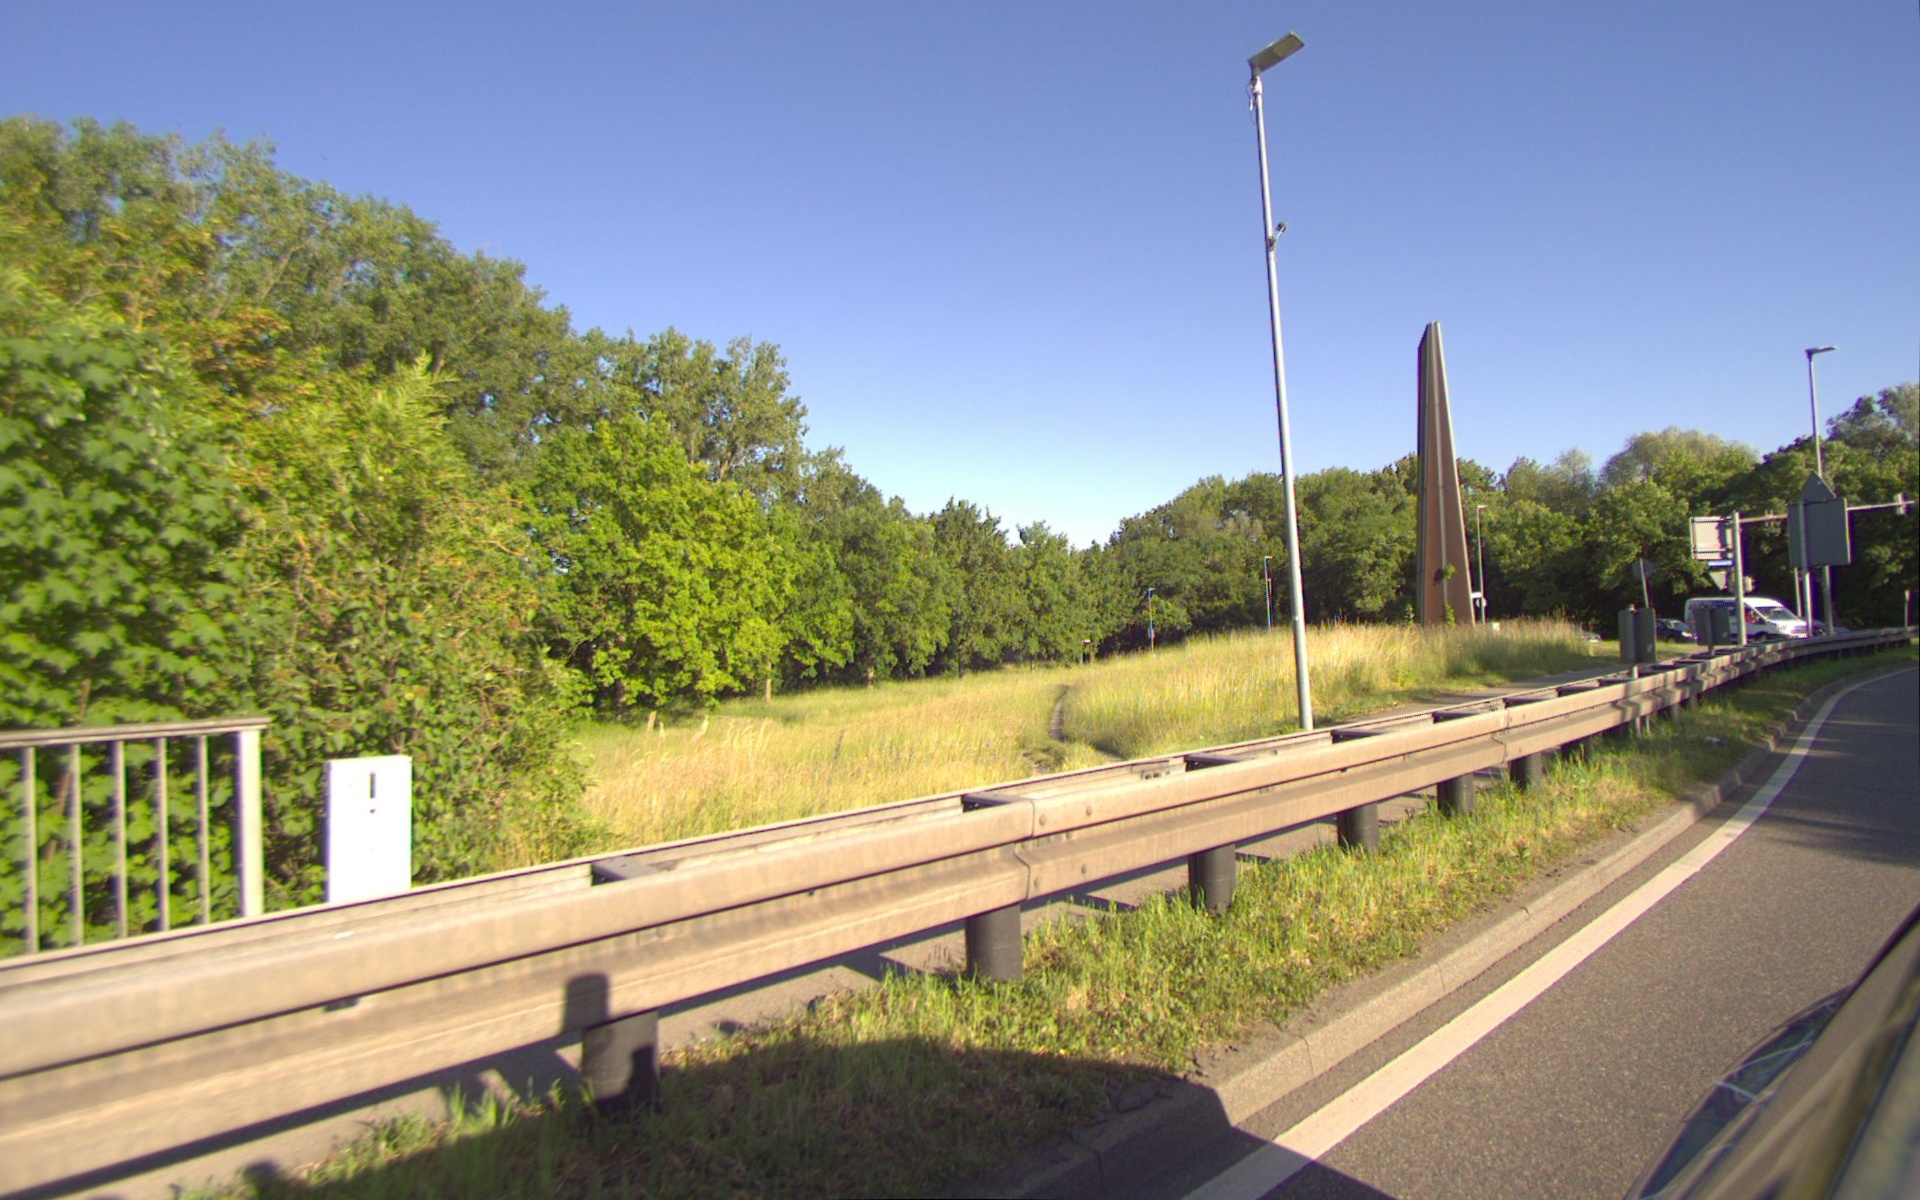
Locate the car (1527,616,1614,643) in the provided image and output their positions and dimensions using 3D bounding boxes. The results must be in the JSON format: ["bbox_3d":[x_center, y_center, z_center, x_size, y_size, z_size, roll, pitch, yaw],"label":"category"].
[{"bbox_3d":[33.443,1.581,55.558,1.614,1.408,4.296,-1,-1,-10],"label":"car"}]

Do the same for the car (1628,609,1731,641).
[{"bbox_3d":[34.720,1.174,48.982,1.807,1.432,3.993,-1,-1,-8],"label":"car"}]

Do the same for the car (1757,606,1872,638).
[{"bbox_3d":[41.776,1.046,49.623,1.733,1.458,4.095,-1,-1,-10],"label":"car"}]

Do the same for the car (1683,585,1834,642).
[{"bbox_3d":[38.268,0.720,48.745,2.071,2.532,5.712,-1,-3,-9],"label":"car"}]
